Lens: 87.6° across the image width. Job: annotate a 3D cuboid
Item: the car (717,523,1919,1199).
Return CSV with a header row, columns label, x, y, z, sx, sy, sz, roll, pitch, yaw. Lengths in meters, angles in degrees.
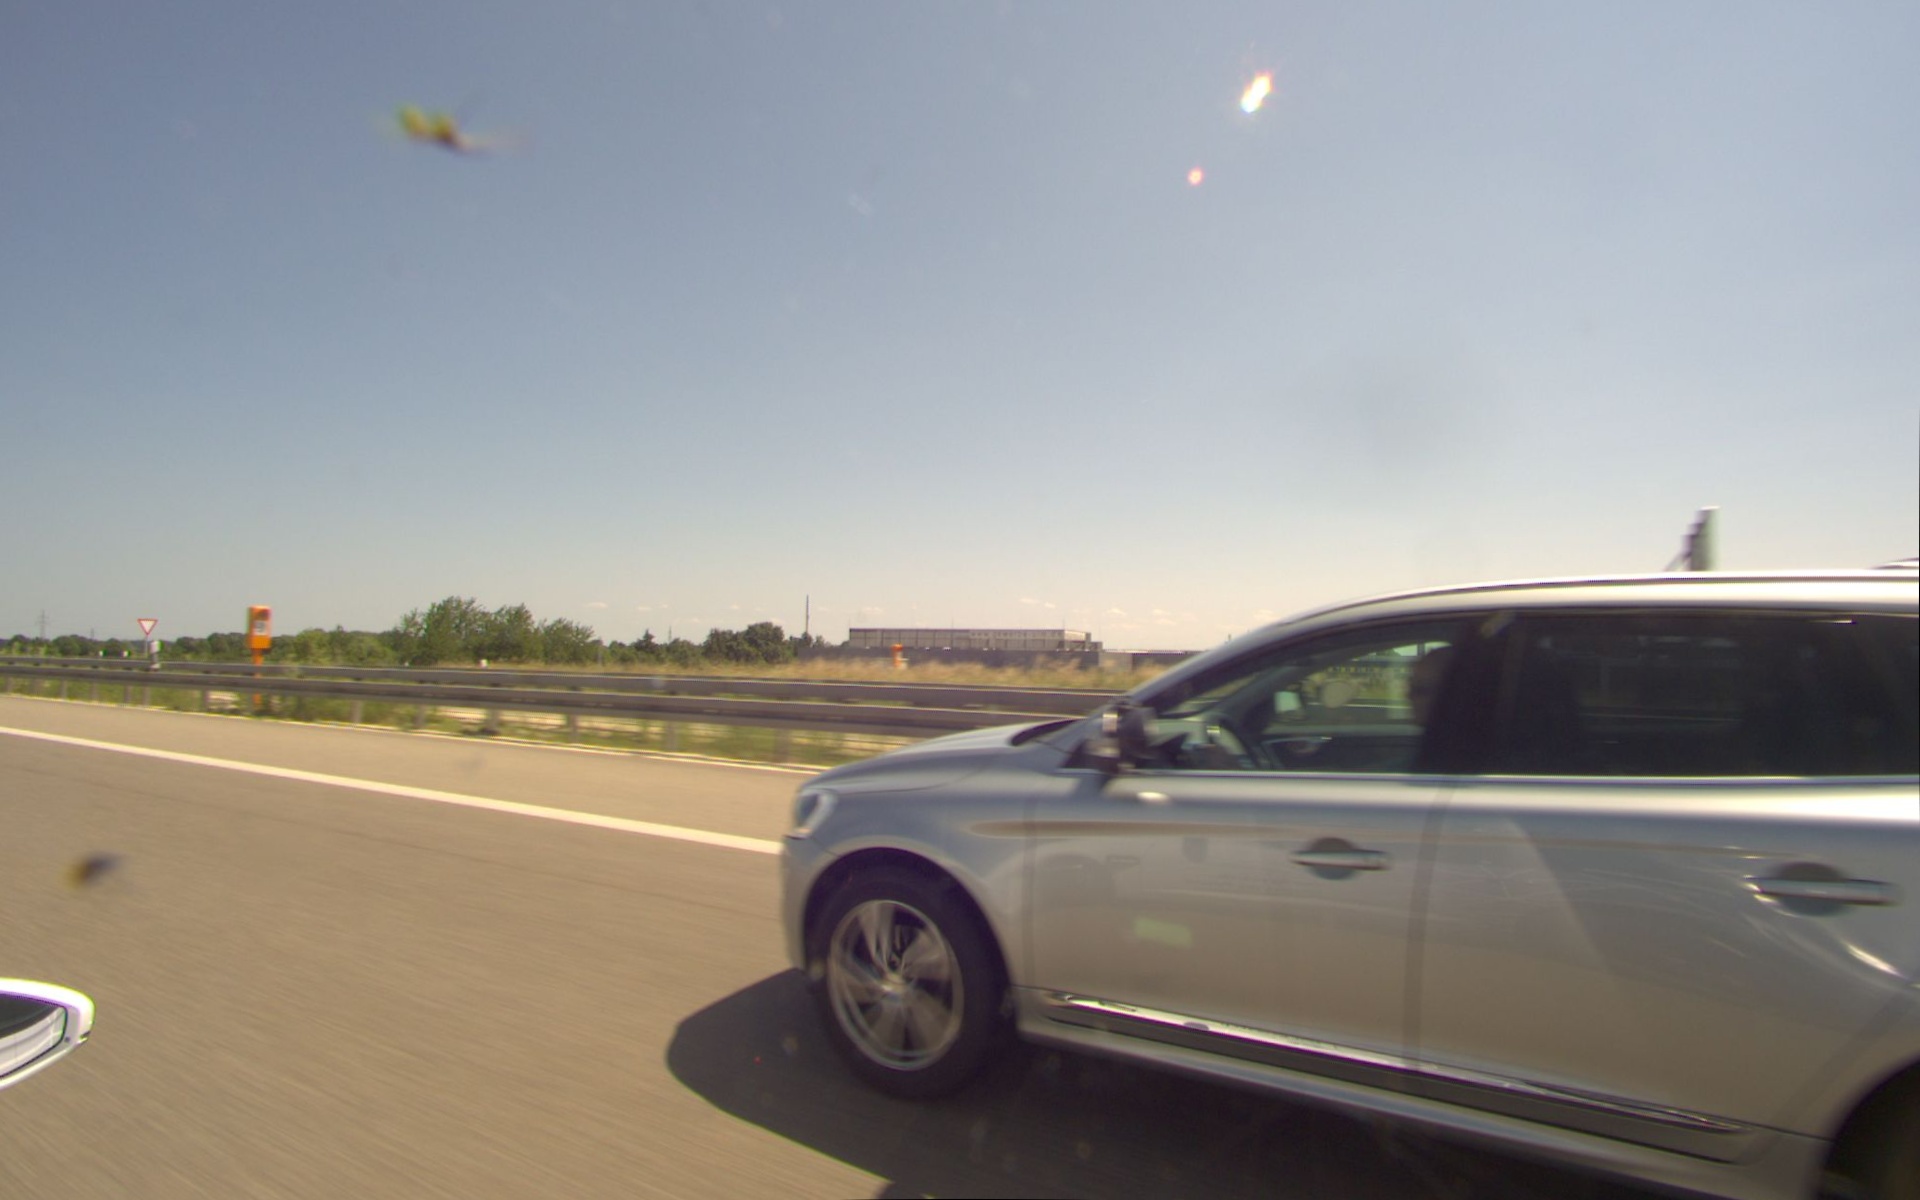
label,x,y,z,sx,sy,sz,roll,pitch,yaw
car,1.690,0.717,2.985,4.834,1.643,1.877,-1,-2,32
